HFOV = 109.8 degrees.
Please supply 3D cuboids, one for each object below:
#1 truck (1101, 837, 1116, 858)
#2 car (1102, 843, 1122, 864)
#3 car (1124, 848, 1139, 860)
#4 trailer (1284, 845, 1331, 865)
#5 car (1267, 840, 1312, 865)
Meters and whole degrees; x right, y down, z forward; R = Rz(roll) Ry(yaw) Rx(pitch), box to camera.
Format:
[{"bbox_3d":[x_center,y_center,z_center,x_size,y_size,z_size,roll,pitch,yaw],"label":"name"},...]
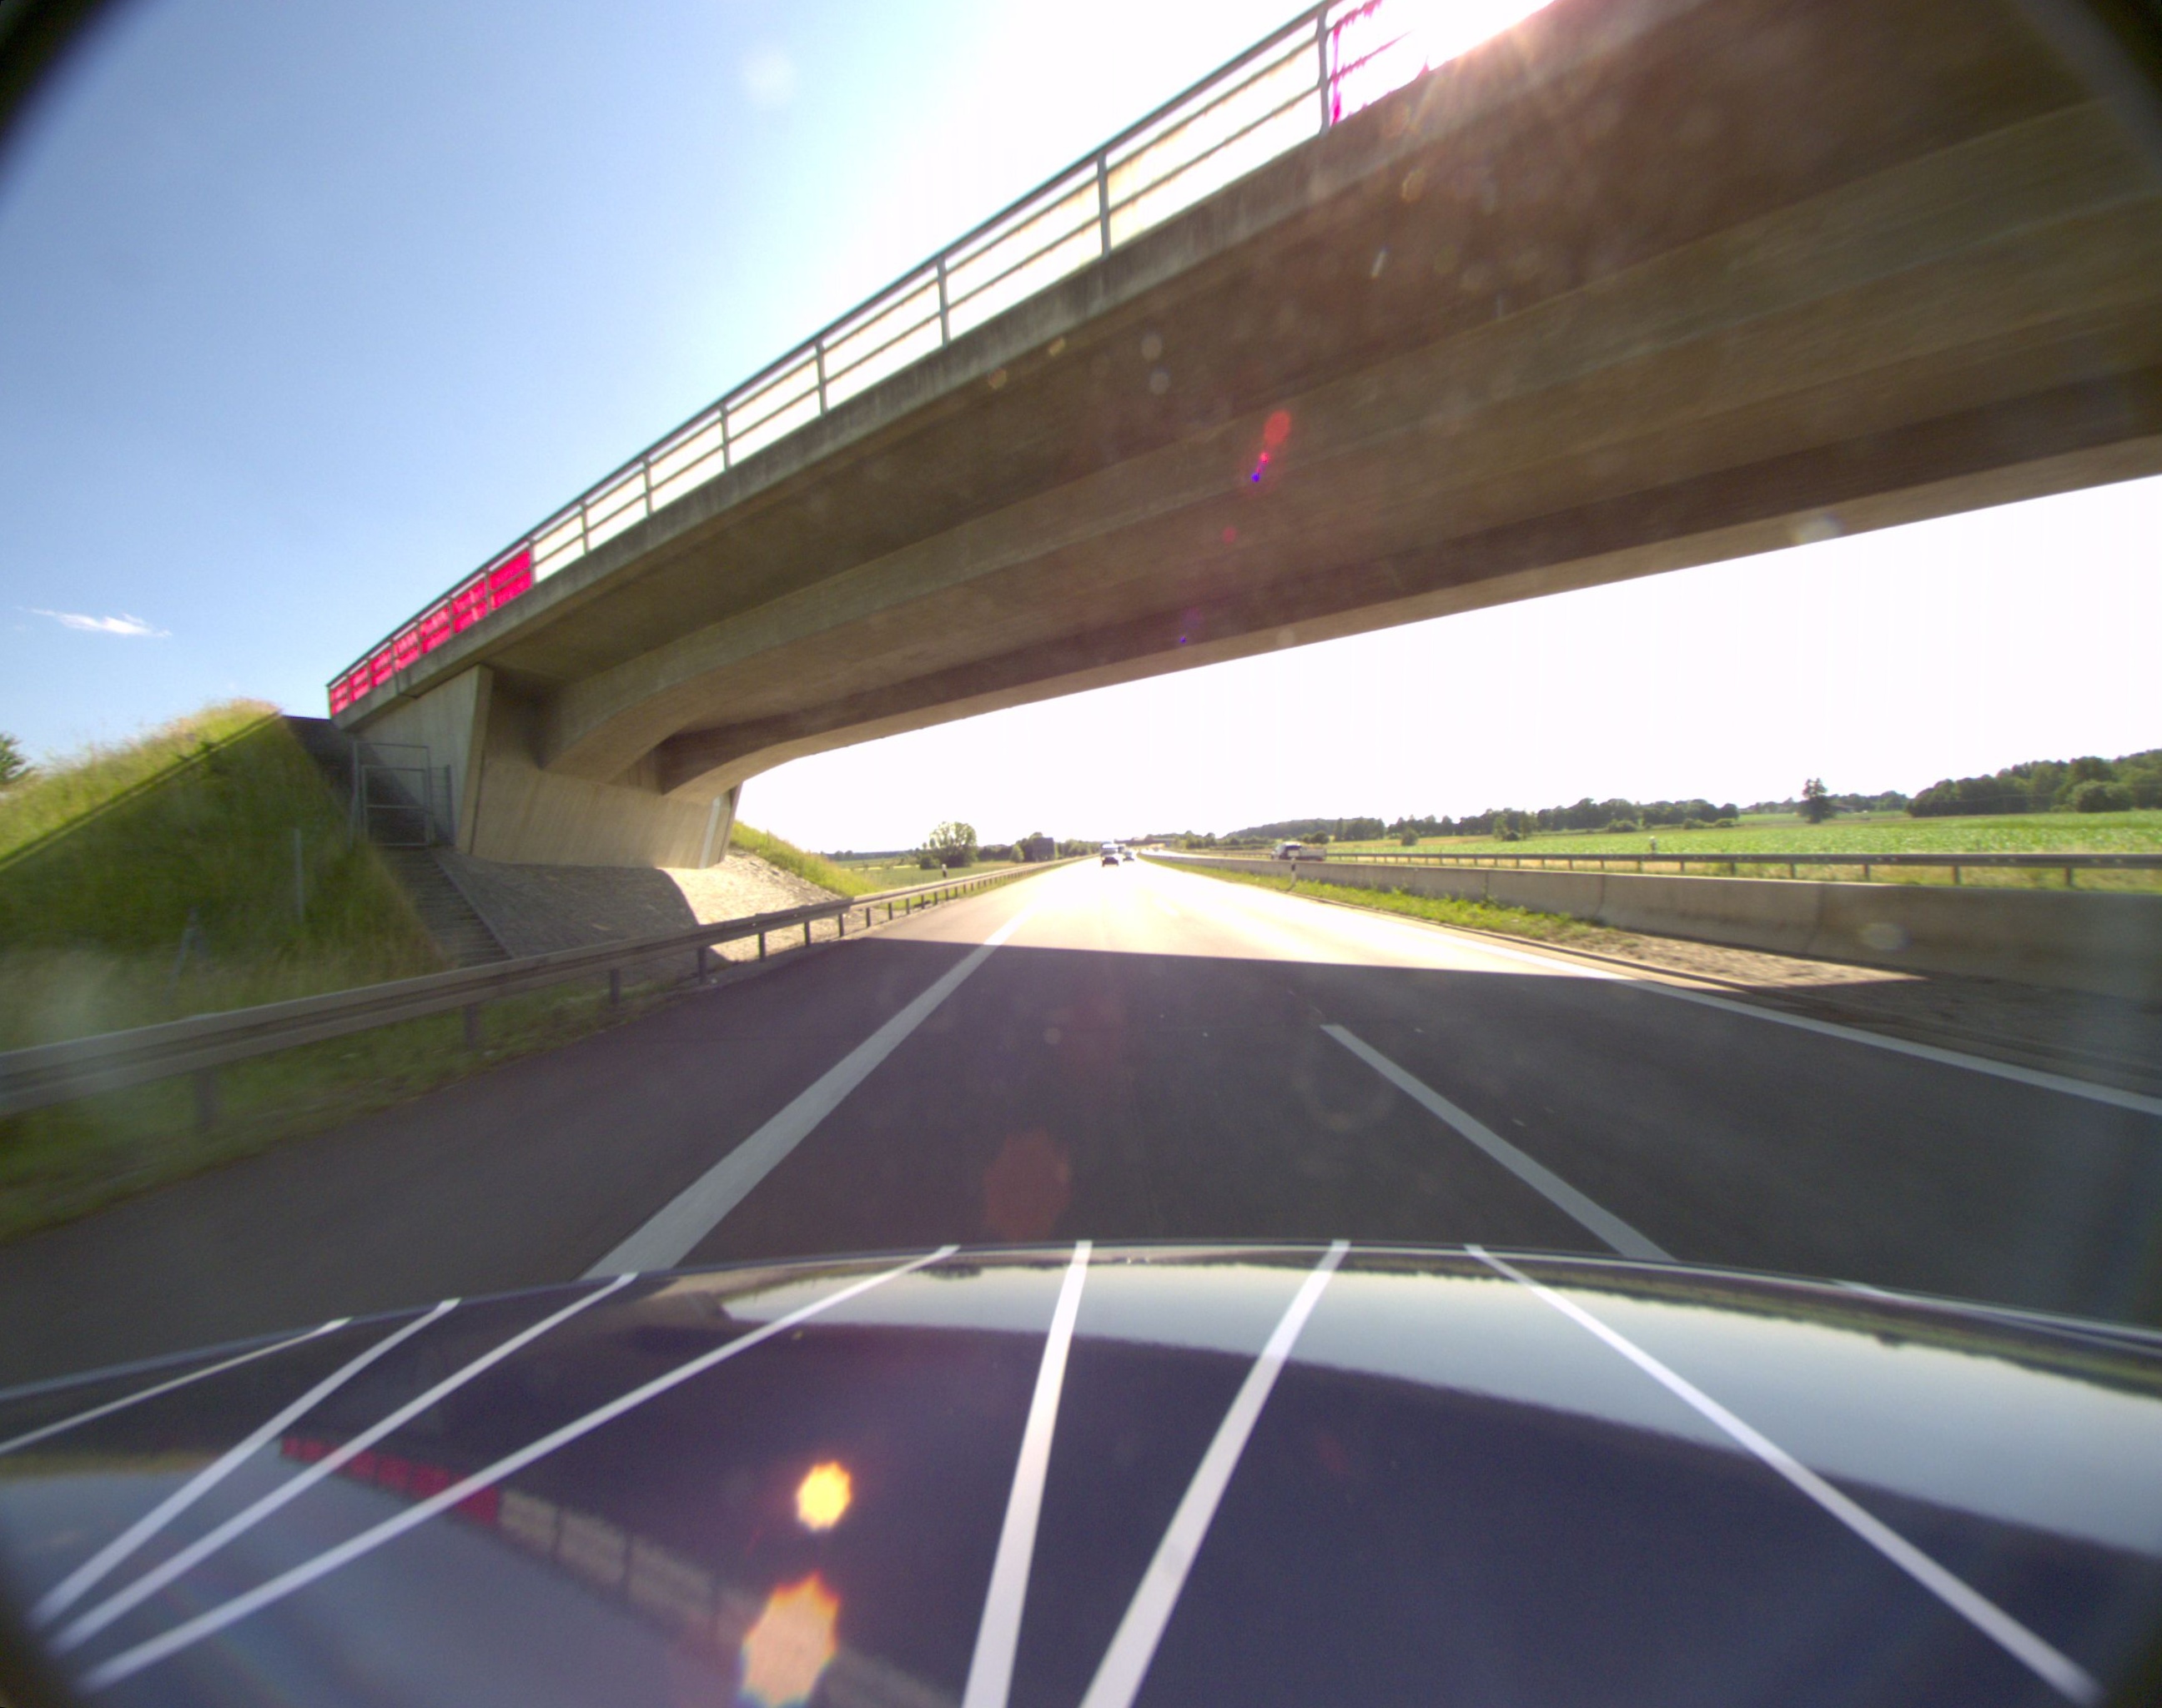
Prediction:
[{"bbox_3d":[5.507,-1.280,150.827,2.762,3.792,7.518,-3,1,3],"label":"truck"},{"bbox_3d":[3.401,-0.073,84.110,2.030,2.225,4.818,-2,0,2],"label":"car"},{"bbox_3d":[7.342,-0.023,111.587,2.030,1.600,4.819,-1,0,2],"label":"car"},{"bbox_3d":[15.835,0.068,53.323,1.998,1.250,4.262,-3,0,1],"label":"trailer"},{"bbox_3d":[15.914,-0.146,58.259,1.998,1.721,5.587,-3,0,1],"label":"car"}]
